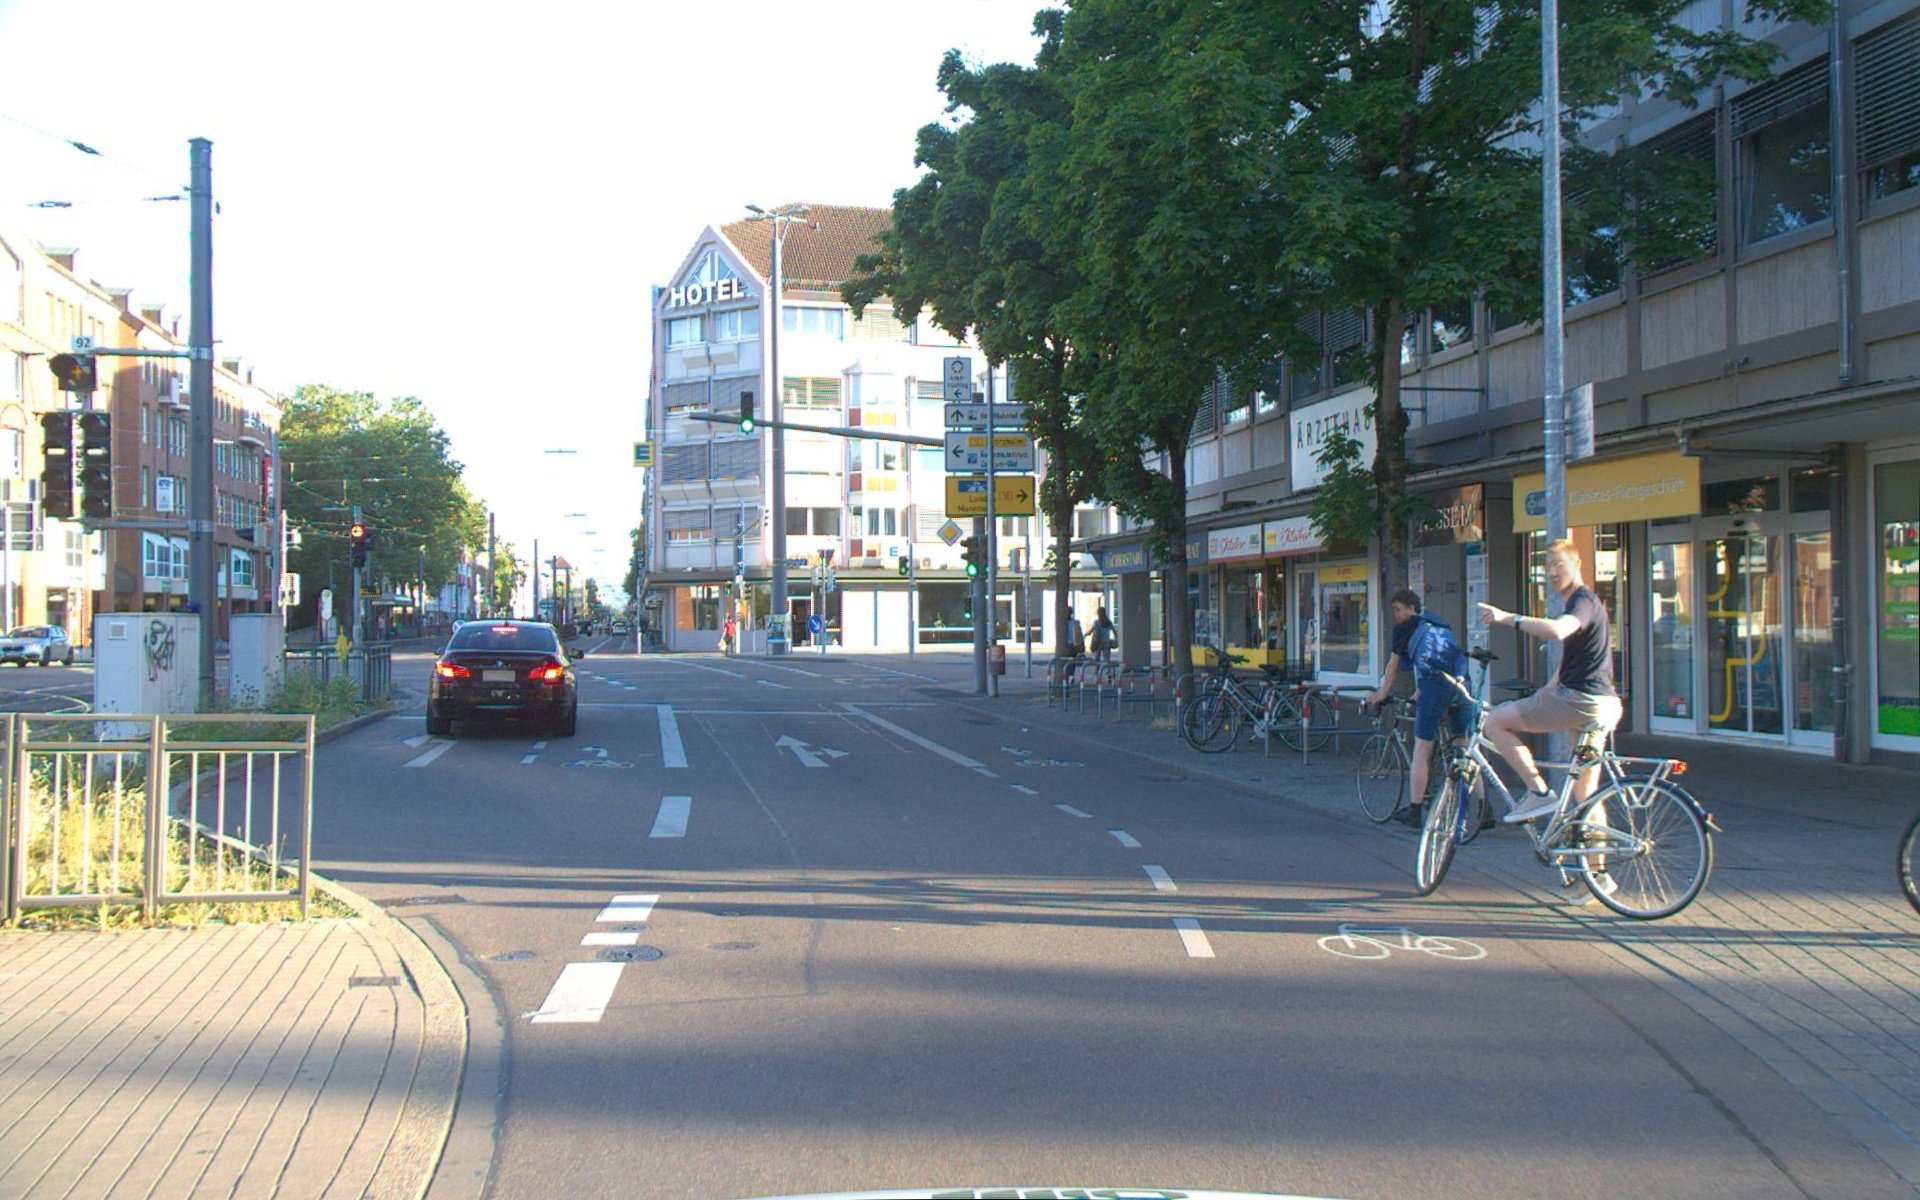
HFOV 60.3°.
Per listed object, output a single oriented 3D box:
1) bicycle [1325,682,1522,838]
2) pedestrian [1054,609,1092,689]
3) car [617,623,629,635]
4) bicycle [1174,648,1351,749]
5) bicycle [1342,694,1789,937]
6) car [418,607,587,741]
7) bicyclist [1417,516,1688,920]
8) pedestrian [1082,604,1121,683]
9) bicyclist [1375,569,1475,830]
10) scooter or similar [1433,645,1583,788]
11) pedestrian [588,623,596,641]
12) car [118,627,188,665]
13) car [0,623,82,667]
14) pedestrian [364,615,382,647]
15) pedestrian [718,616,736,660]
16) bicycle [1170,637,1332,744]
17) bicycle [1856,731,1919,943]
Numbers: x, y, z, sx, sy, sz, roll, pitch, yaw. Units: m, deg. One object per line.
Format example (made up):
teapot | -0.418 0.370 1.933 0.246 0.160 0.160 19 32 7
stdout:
bicycle | 3.382 1.140 12.240 0.457 0.987 1.790 0 -1 -19
pedestrian | 2.414 1.038 35.493 0.671 1.696 0.670 0 -1 -8
car | -42.591 3.650 208.758 1.447 1.541 3.086 0 -1 -12
bicycle | 3.514 1.143 19.321 1.955 1.130 0.668 0 -1 1
bicycle | 3.122 1.053 8.663 2.040 1.038 0.835 -1 -1 42
car | -6.113 0.941 22.412 1.959 1.613 3.986 2 -1 -14
bicyclist | 3.100 0.573 8.672 1.095 1.951 0.835 -1 -1 42
pedestrian | 3.087 0.949 36.127 0.709 1.696 0.670 0 -1 -8
bicyclist | 3.407 0.711 12.136 0.457 1.862 0.556 0 -1 -20
scooter or similar | 4.996 1.046 15.108 1.250 1.257 0.338 -1 -1 31
pedestrian | -42.393 3.706 190.699 0.898 2.049 0.884 0 -1 -13
car | -37.008 2.084 75.953 1.960 1.613 4.462 -1 -1 -14
car | -32.660 1.575 58.259 1.637 1.473 4.195 0 -1 -7
pedestrian | -37.846 1.985 106.680 0.971 2.049 0.723 1 -1 -13
pedestrian | -10.067 1.636 71.345 0.673 1.887 0.668 0 -1 -15
bicycle | 3.559 1.098 20.302 1.865 1.257 0.668 0 -1 -1
bicycle | 5.361 1.089 7.657 1.963 0.896 0.841 -1 -1 12
